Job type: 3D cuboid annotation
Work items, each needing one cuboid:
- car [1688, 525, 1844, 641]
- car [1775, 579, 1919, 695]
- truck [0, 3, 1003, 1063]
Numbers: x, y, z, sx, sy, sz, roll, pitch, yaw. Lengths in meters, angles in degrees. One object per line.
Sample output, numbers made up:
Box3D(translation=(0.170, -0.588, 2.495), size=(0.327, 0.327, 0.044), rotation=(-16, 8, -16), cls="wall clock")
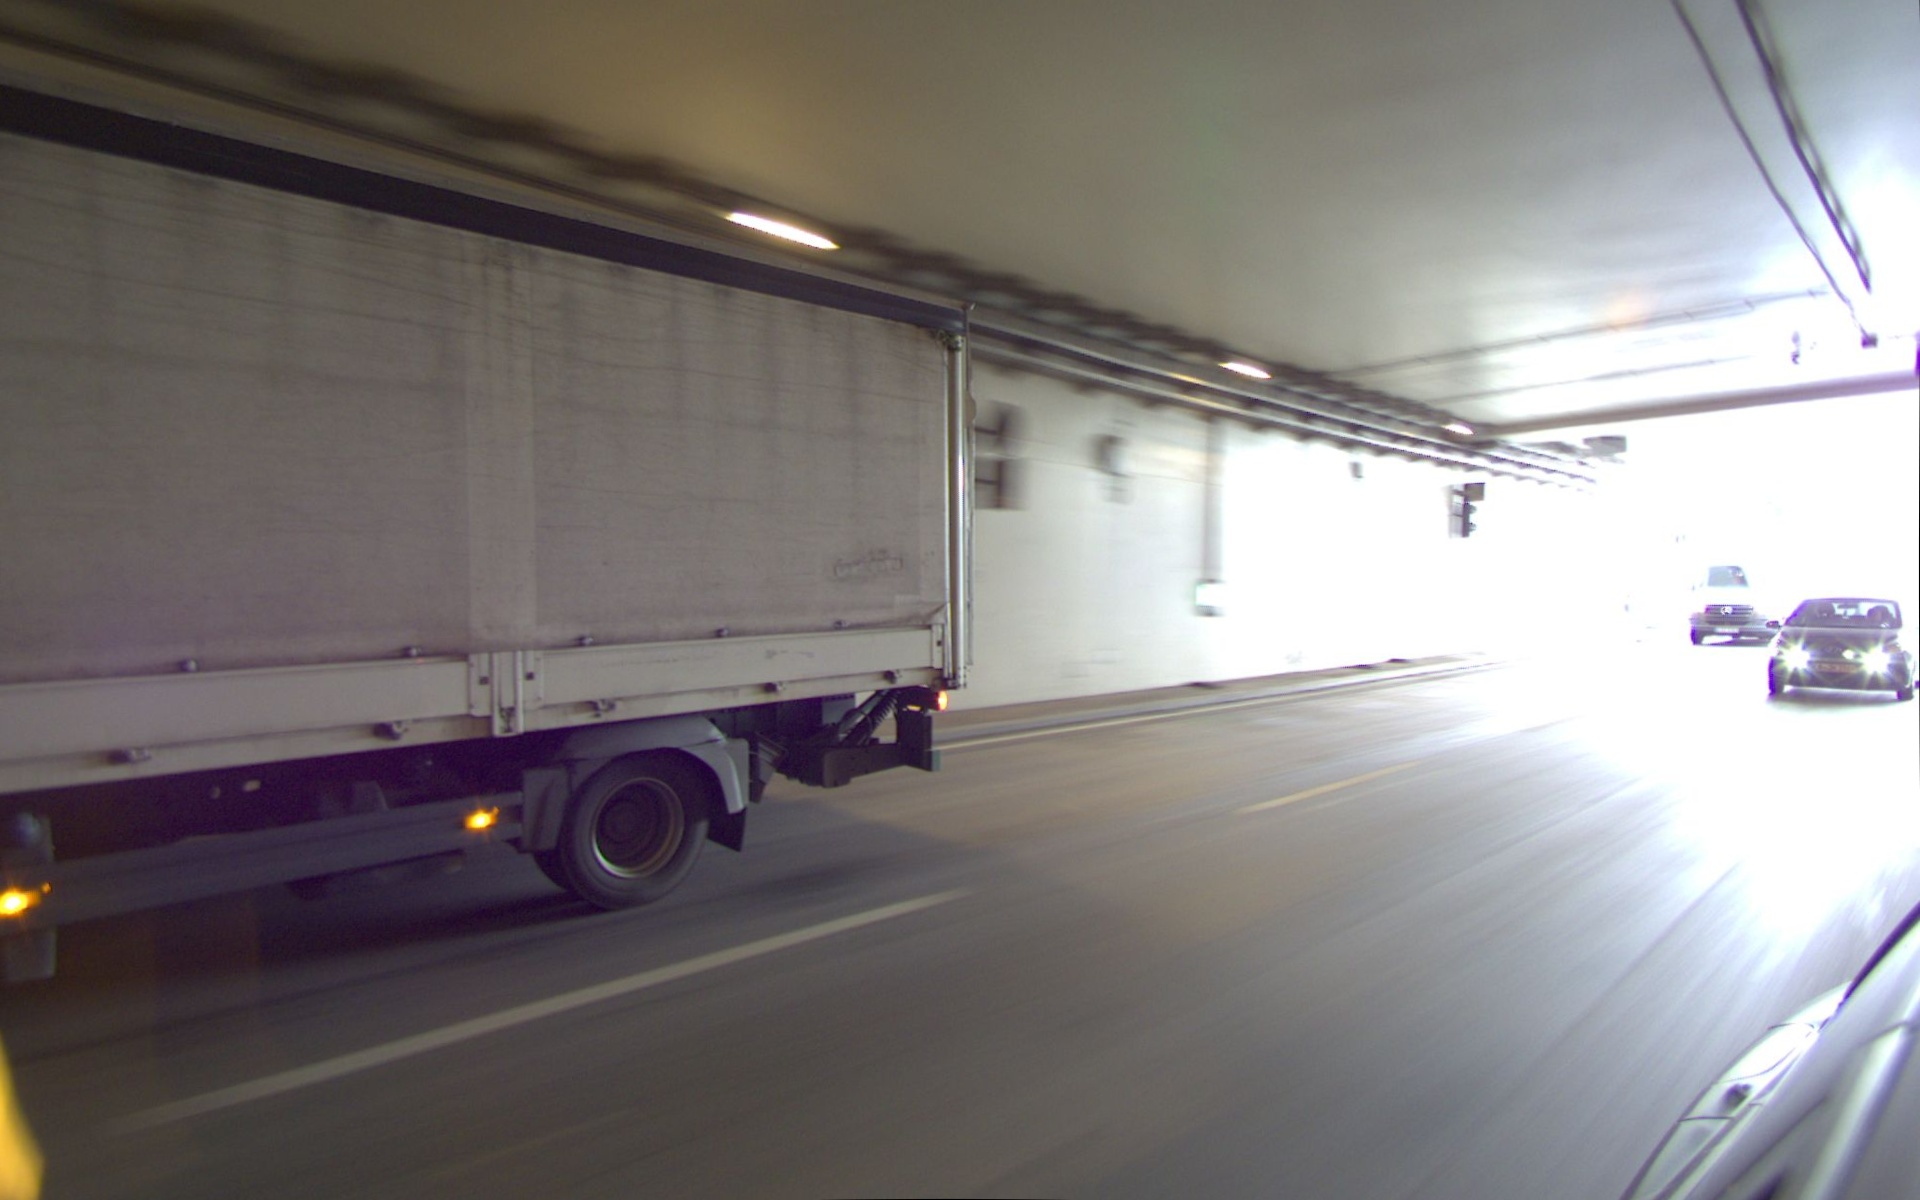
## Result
Box3D(translation=(22.489, -0.470, 28.101), size=(6.740, 2.882, 2.106), rotation=(0, 2, -40), cls="car")
Box3D(translation=(13.977, 0.479, 15.591), size=(3.652, 1.580, 1.638), rotation=(-1, 1, -41), cls="car")
Box3D(translation=(-3.182, -0.232, 4.607), size=(7.126, 3.221, 2.555), rotation=(0, 1, -44), cls="truck")
